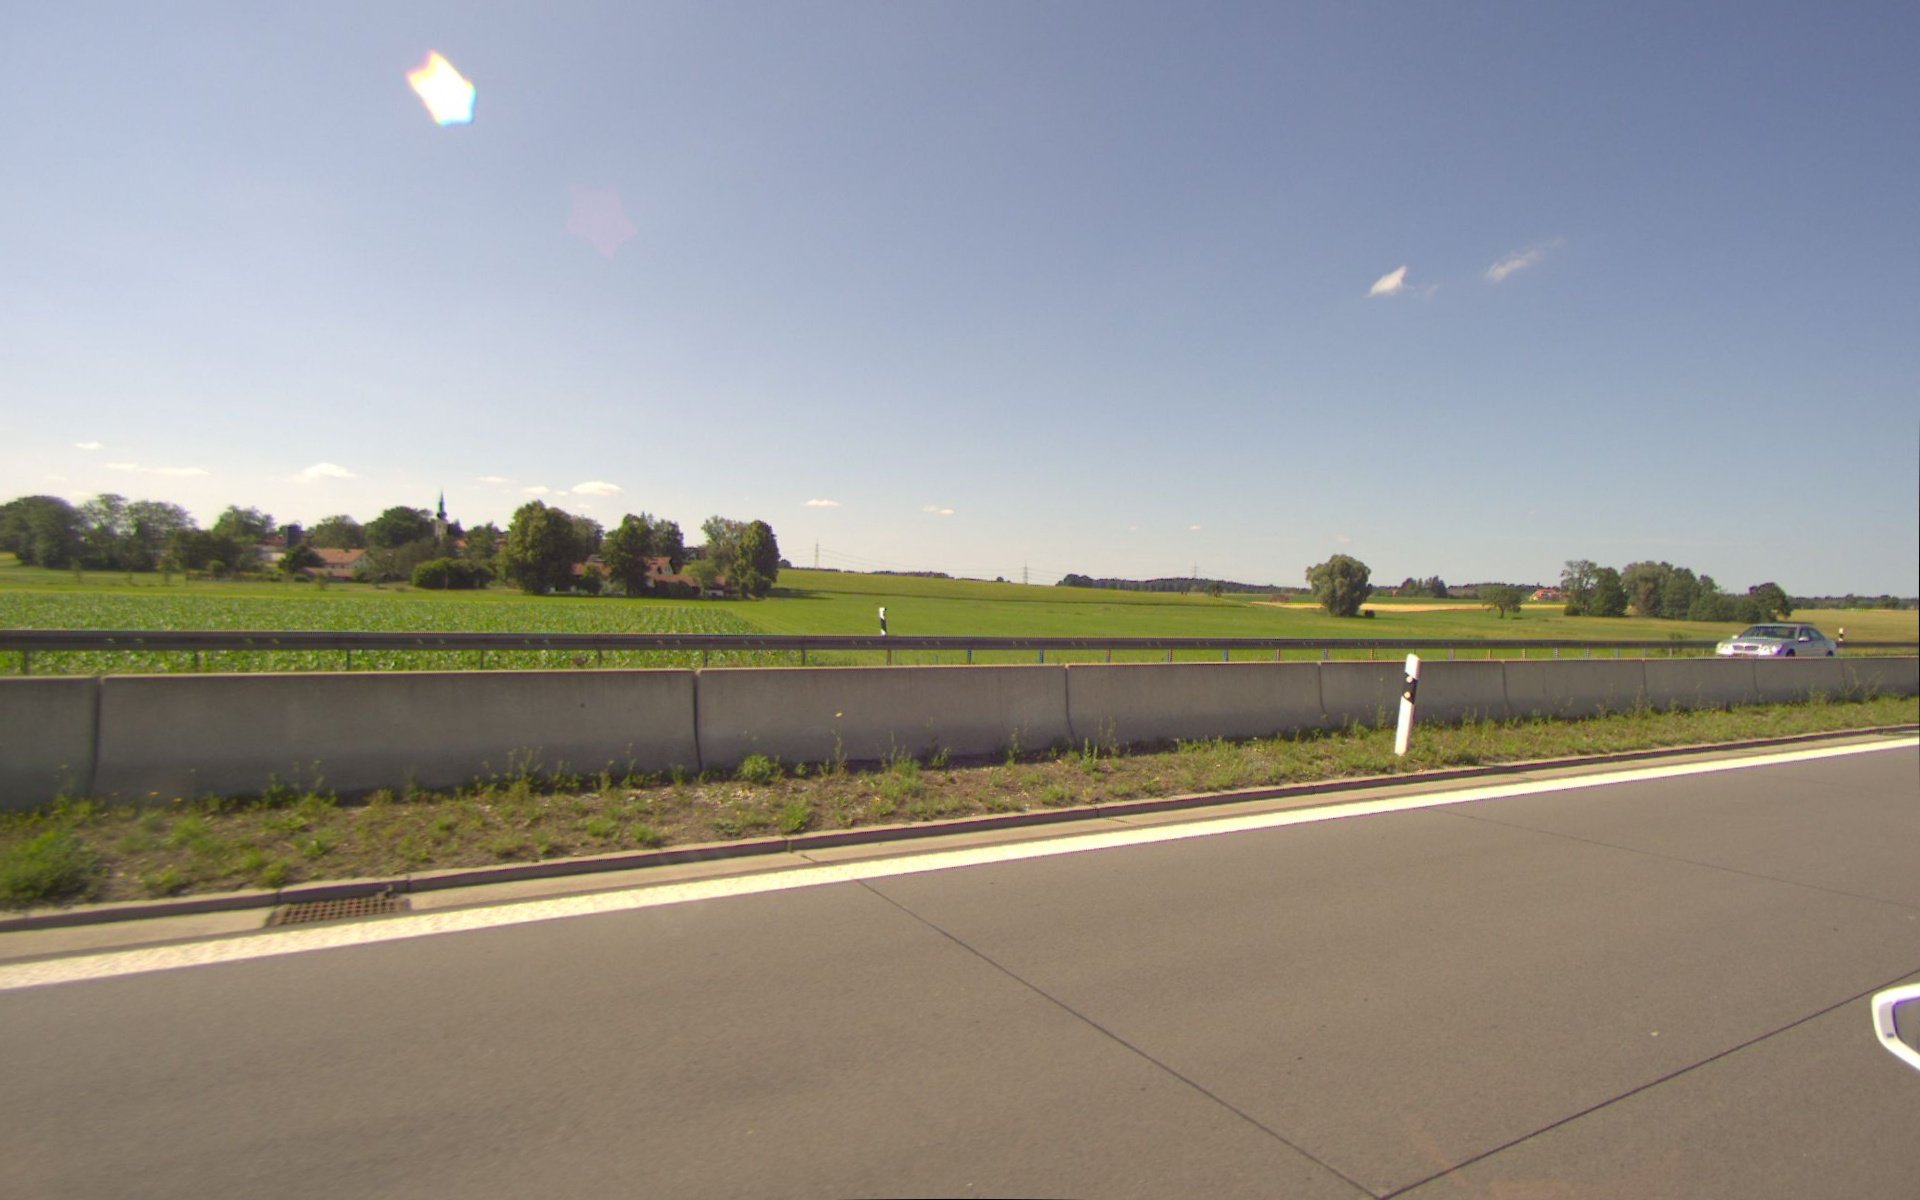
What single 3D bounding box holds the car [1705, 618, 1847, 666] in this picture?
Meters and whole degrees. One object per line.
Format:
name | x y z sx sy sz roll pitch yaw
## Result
car | 25.608 1.281 31.468 5.235 1.383 1.813 1 -1 -31
